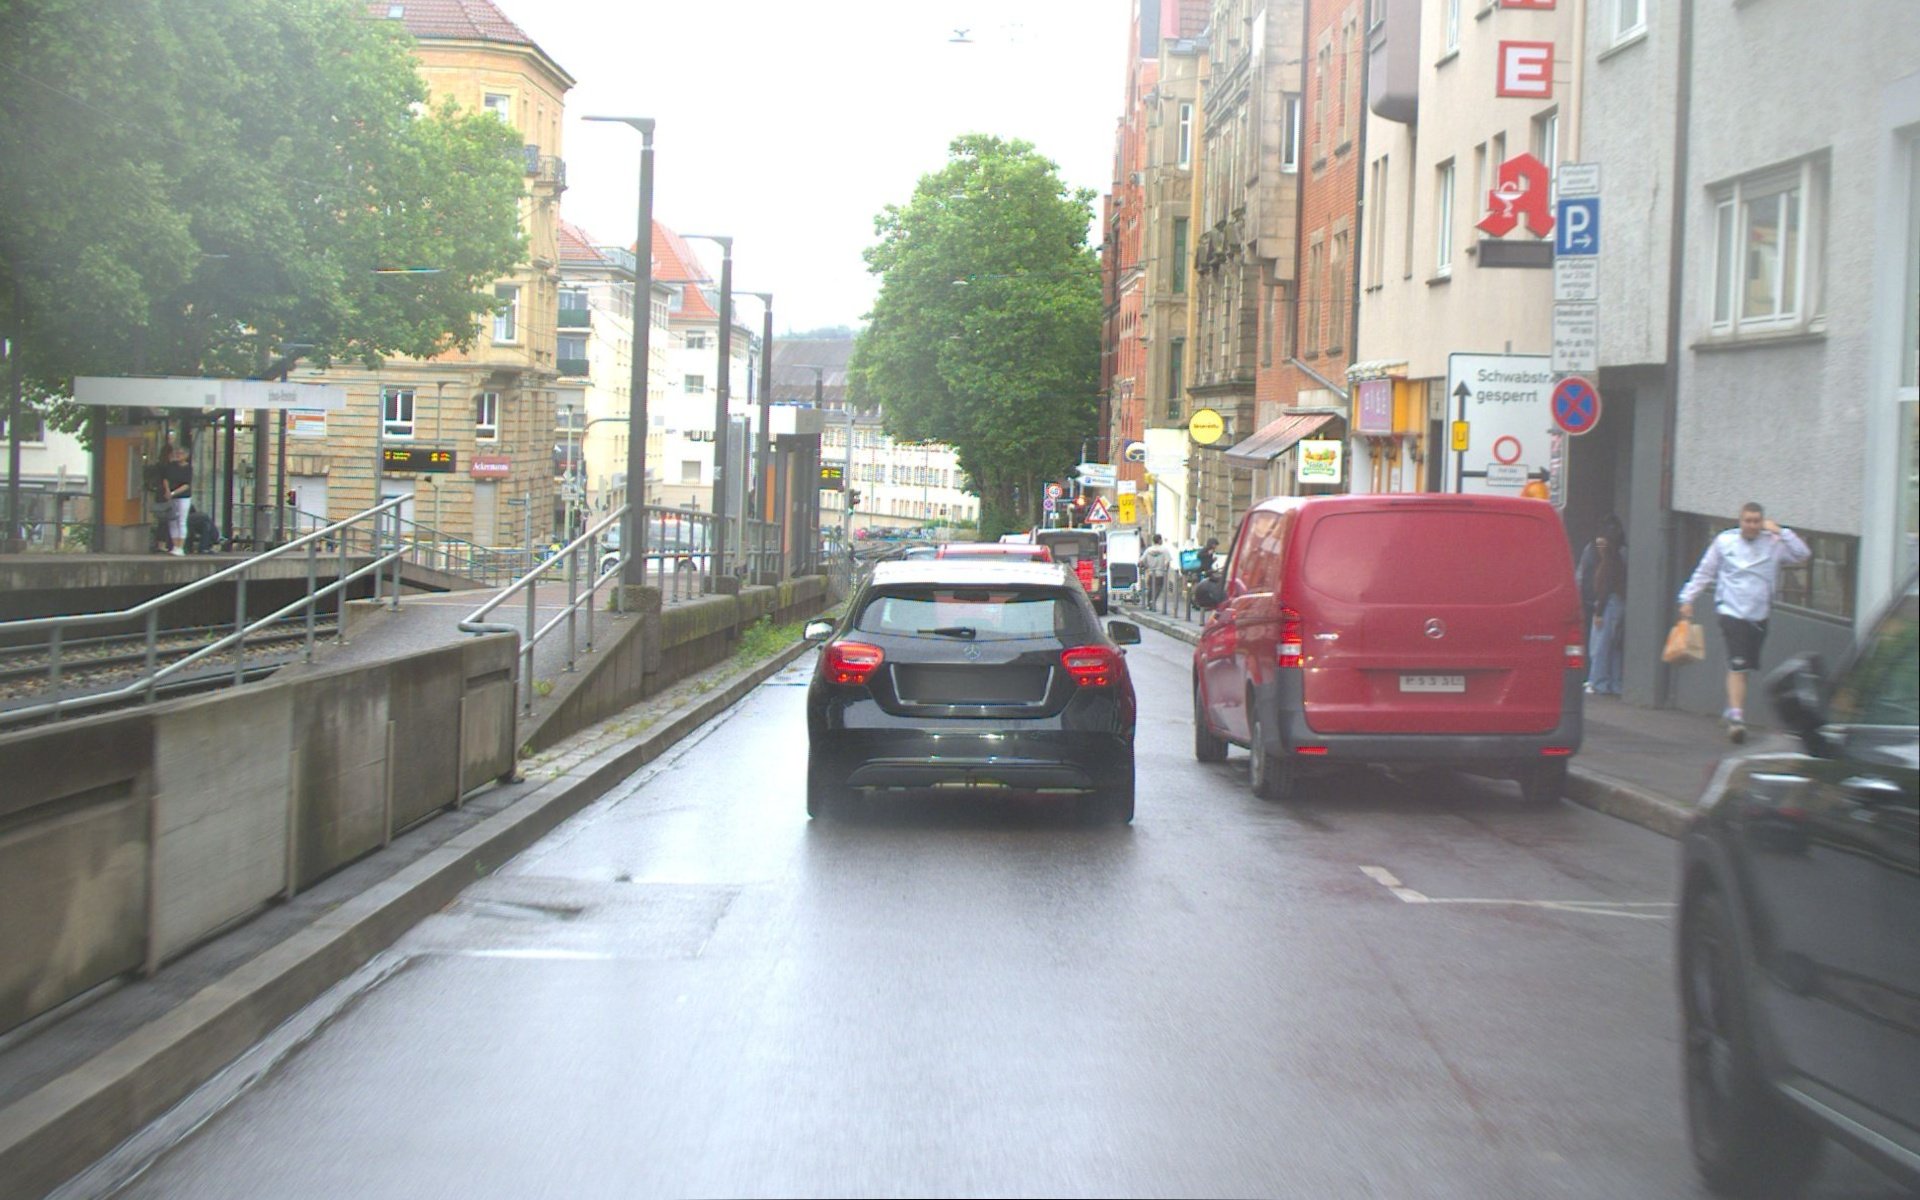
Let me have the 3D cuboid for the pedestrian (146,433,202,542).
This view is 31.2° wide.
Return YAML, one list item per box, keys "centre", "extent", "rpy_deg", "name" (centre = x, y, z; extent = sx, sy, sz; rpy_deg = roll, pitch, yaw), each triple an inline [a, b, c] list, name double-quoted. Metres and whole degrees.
- centre: [-12.101, -1.726, 52.965]
  extent: [0.686, 1.635, 0.564]
  rpy_deg: [2, 1, -2]
  name: "pedestrian"

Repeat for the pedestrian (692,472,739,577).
- centre: [-3.768, -1.166, 53.078]
  extent: [0.496, 1.599, 0.636]
  rpy_deg: [1, 0, 16]
  name: "pedestrian"

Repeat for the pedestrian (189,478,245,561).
- centre: [-12.450, -1.348, 57.641]
  extent: [0.777, 1.358, 0.564]
  rpy_deg: [2, 1, -2]
  name: "pedestrian"

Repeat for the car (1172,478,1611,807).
- centre: [2.622, 0.227, 22.207]
  extent: [1.975, 1.832, 5.246]
  rpy_deg: [1, 0, -2]
  name: "car"

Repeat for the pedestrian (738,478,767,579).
- centre: [-3.333, -1.143, 55.218]
  extent: [0.409, 1.599, 0.450]
  rpy_deg: [1, 0, -6]
  name: "pedestrian"

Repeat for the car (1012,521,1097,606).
- centre: [2.234, -0.855, 82.053]
  extent: [1.921, 1.929, 4.685]
  rpy_deg: [2, 0, 1]
  name: "car"

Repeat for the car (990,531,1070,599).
- centre: [1.954, -1.005, 97.499]
  extent: [1.933, 1.825, 4.281]
  rpy_deg: [2, 1, -3]
  name: "car"

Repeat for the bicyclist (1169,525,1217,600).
- centre: [5.137, -0.826, 75.813]
  extent: [0.848, 1.651, 0.631]
  rpy_deg: [0, 0, -44]
  name: "bicyclist"

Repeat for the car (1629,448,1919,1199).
- centre: [2.567, 0.598, 6.420]
  extent: [1.765, 1.702, 4.499]
  rpy_deg: [1, 1, 1]
  name: "car"

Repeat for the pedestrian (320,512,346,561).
- centre: [-22.141, -2.244, 121.415]
  extent: [0.761, 1.744, 0.645]
  rpy_deg: [1, 1, 1]
  name: "pedestrian"

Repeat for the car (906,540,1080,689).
- centre: [0.311, 0.127, 36.877]
  extent: [1.679, 1.484, 3.613]
  rpy_deg: [1, 1, -2]
  name: "car"

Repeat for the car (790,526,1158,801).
- centre: [0.092, 0.288, 19.849]
  extent: [1.895, 1.385, 4.000]
  rpy_deg: [1, 2, 1]
  name: "car"

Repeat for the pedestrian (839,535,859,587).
- centre: [-3.286, -1.163, 101.707]
  extent: [0.531, 1.525, 0.436]
  rpy_deg: [2, 0, -8]
  name: "pedestrian"

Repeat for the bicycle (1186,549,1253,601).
- centre: [5.690, -0.543, 75.250]
  extent: [1.684, 1.111, 0.464]
  rpy_deg: [0, 0, -44]
  name: "bicycle"

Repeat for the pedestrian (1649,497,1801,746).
- centre: [5.588, 0.149, 25.159]
  extent: [0.851, 1.751, 0.837]
  rpy_deg: [3, 1, 0]
  name: "pedestrian"

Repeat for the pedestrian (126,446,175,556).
- centre: [-12.863, -1.569, 54.640]
  extent: [0.562, 1.709, 0.706]
  rpy_deg: [2, 1, -2]
  name: "pedestrian"
